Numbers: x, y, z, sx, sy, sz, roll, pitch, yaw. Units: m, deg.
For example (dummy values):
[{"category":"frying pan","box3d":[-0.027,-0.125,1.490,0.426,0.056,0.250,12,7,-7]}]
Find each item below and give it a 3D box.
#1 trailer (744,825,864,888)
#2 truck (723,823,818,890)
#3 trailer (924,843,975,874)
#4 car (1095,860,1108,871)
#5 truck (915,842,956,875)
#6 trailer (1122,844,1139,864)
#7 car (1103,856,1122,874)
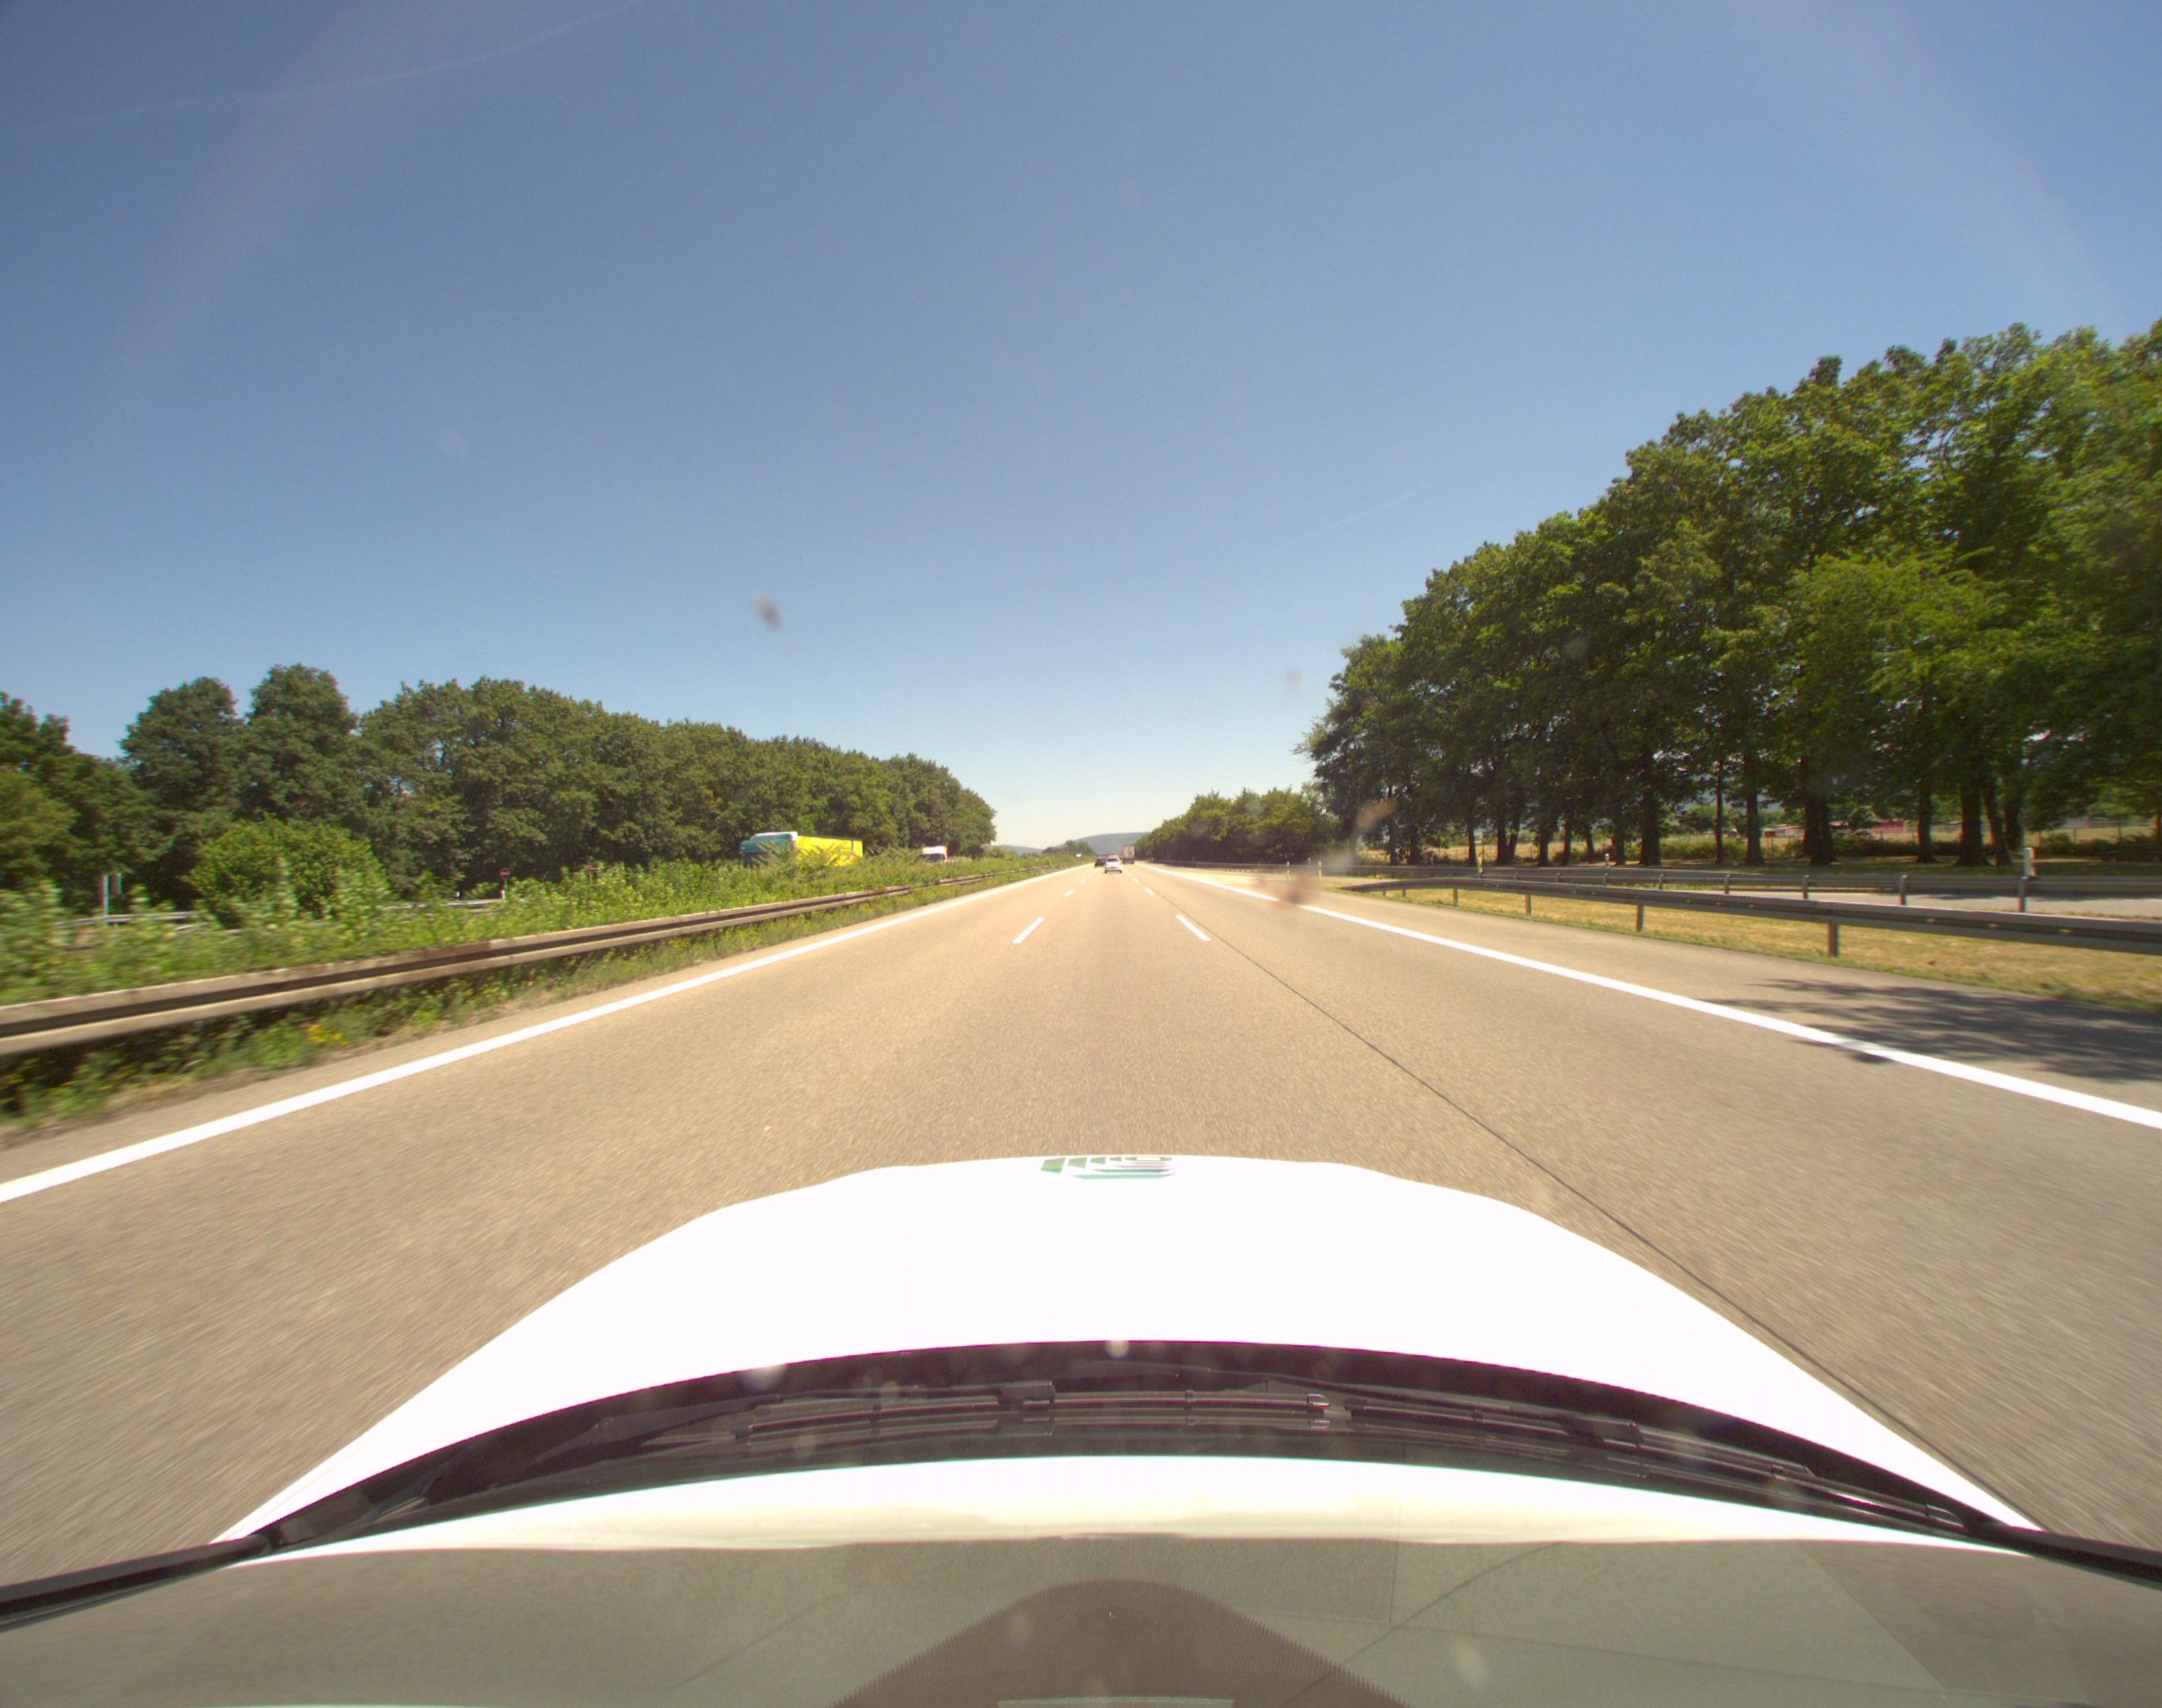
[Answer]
[{"category":"trailer","box3d":[-18.692,0.212,56.553,3.186,3.825,14.027,0,0,1]},{"category":"truck","box3d":[-18.871,0.141,49.942,3.186,3.825,6.397,0,-1,1]},{"category":"trailer","box3d":[-16.269,0.608,102.130,3.185,3.580,15.976,0,0,2]},{"category":"car","box3d":[3.199,1.760,124.891,1.986,1.712,4.001,0,0,2]},{"category":"truck","box3d":[-16.606,0.546,93.645,3.185,3.580,7.000,0,-1,2]},{"category":"trailer","box3d":[11.199,0.062,182.468,3.202,4.345,13.648,0,0,5]},{"category":"car","box3d":[3.088,1.070,79.364,1.725,1.684,4.001,-2,0,2]}]
